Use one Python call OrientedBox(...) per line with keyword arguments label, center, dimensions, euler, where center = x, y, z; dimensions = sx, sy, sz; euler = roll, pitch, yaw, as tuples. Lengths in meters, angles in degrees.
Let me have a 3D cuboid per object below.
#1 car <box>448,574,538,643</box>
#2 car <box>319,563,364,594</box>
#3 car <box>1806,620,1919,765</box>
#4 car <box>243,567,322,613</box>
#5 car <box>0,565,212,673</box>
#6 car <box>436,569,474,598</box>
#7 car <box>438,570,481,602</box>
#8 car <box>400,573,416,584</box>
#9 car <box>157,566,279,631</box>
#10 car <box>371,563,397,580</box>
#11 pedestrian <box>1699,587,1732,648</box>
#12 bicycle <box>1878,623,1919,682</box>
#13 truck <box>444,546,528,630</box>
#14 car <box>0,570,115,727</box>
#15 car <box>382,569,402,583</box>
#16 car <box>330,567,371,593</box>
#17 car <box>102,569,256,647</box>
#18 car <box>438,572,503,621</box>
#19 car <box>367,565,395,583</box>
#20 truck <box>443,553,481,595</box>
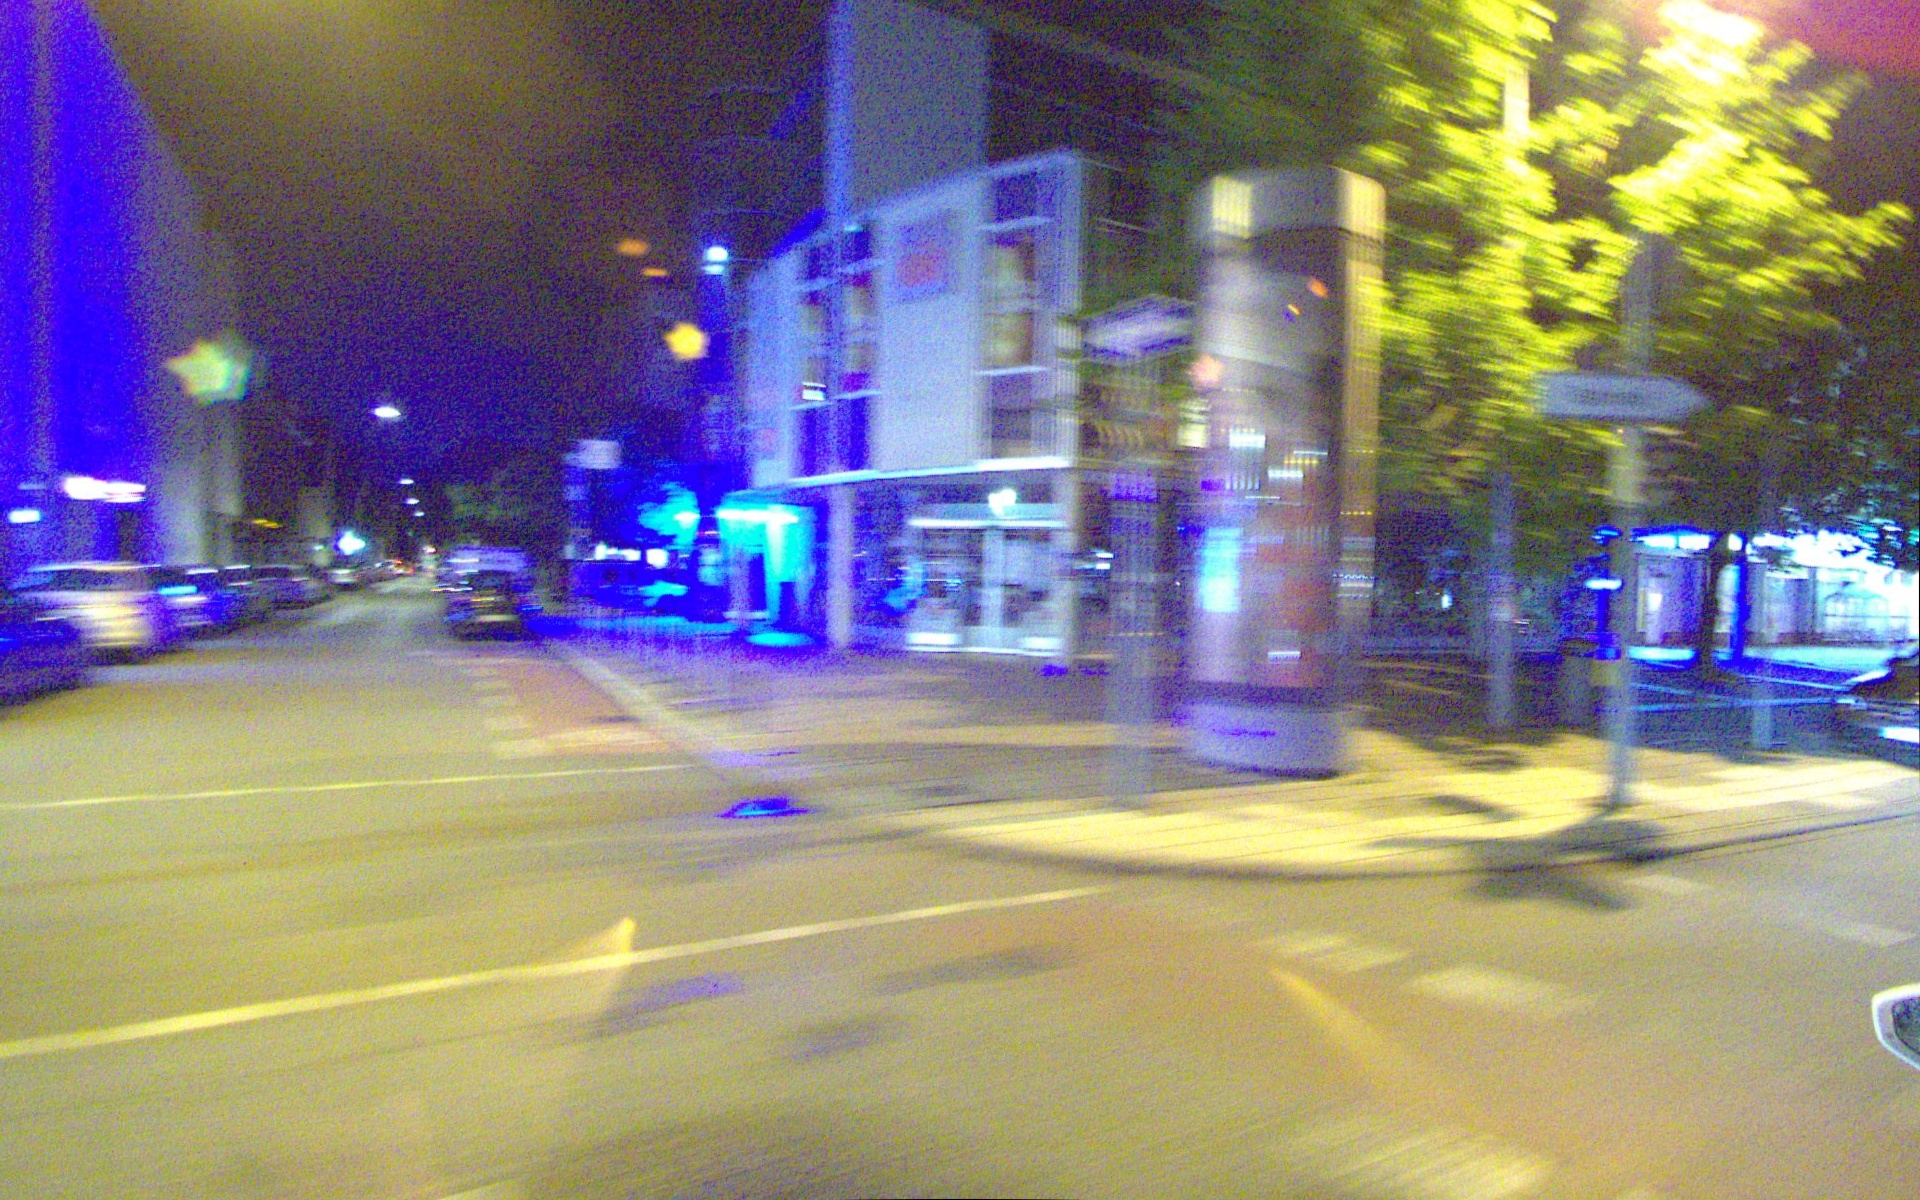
OrientedBox(label="car", center=(-10.338, 0.170, 22.149), dimensions=(1.639, 1.403, 3.078), euler=(1, 1, -28))
OrientedBox(label="car", center=(-33.056, -1.163, 53.765), dimensions=(1.781, 1.543, 3.882), euler=(1, 1, -28))
OrientedBox(label="car", center=(12.067, 1.028, 11.566), dimensions=(4.859, 1.444, 1.799), euler=(1, 3, -28))
OrientedBox(label="car", center=(-22.820, -0.359, 33.973), dimensions=(1.781, 1.414, 3.882), euler=(1, 1, -28))
OrientedBox(label="car", center=(-13.301, 0.220, 15.835), dimensions=(1.781, 1.456, 4.119), euler=(1, 1, -28))
OrientedBox(label="car", center=(-26.706, -0.849, 53.024), dimensions=(1.705, 1.437, 3.882), euler=(1, 1, -28))
OrientedBox(label="car", center=(-24.012, -0.679, 48.129), dimensions=(1.705, 1.437, 3.882), euler=(1, 1, -28))
OrientedBox(label="car", center=(-73.503, -2.922, 133.722), dimensions=(1.781, 1.414, 3.882), euler=(1, 1, -28))
OrientedBox(label="car", center=(-17.742, -0.069, 24.190), dimensions=(1.781, 1.414, 3.882), euler=(1, 1, -28))
OrientedBox(label="car", center=(-51.002, -2.486, 88.993), dimensions=(1.781, 1.414, 3.882), euler=(1, 1, -28))
OrientedBox(label="pedestrian", center=(20.544, 0.472, 27.316), dimensions=(0.624, 1.658, 0.476), euler=(1, 1, -27))
OrientedBox(label="bicycle", center=(17.765, 0.991, 17.992), dimensions=(0.526, 1.013, 1.843), euler=(1, 3, -27))
OrientedBox(label="truck", center=(-12.699, -0.315, 26.778), dimensions=(1.835, 2.050, 4.012), euler=(1, 1, -28))
OrientedBox(label="car", center=(-10.329, 0.411, 10.190), dimensions=(1.781, 1.416, 4.311), euler=(1, 1, -28))
OrientedBox(label="car", center=(-61.160, -2.607, 108.222), dimensions=(1.781, 1.414, 3.882), euler=(1, 1, -28))
OrientedBox(label="car", center=(-35.232, -1.189, 58.119), dimensions=(1.781, 1.414, 3.882), euler=(1, 1, -28))
OrientedBox(label="car", center=(-15.601, 0.107, 20.274), dimensions=(1.781, 1.414, 3.882), euler=(1, 1, -28))
OrientedBox(label="car", center=(-15.510, -0.127, 31.712), dimensions=(1.705, 1.437, 3.882), euler=(1, 1, -28))
OrientedBox(label="car", center=(-47.468, -2.156, 82.360), dimensions=(1.781, 1.414, 3.882), euler=(1, 1, -28))
OrientedBox(label="truck", center=(-28.446, -1.442, 57.341), dimensions=(1.835, 2.268, 3.965), euler=(1, 1, -28))
